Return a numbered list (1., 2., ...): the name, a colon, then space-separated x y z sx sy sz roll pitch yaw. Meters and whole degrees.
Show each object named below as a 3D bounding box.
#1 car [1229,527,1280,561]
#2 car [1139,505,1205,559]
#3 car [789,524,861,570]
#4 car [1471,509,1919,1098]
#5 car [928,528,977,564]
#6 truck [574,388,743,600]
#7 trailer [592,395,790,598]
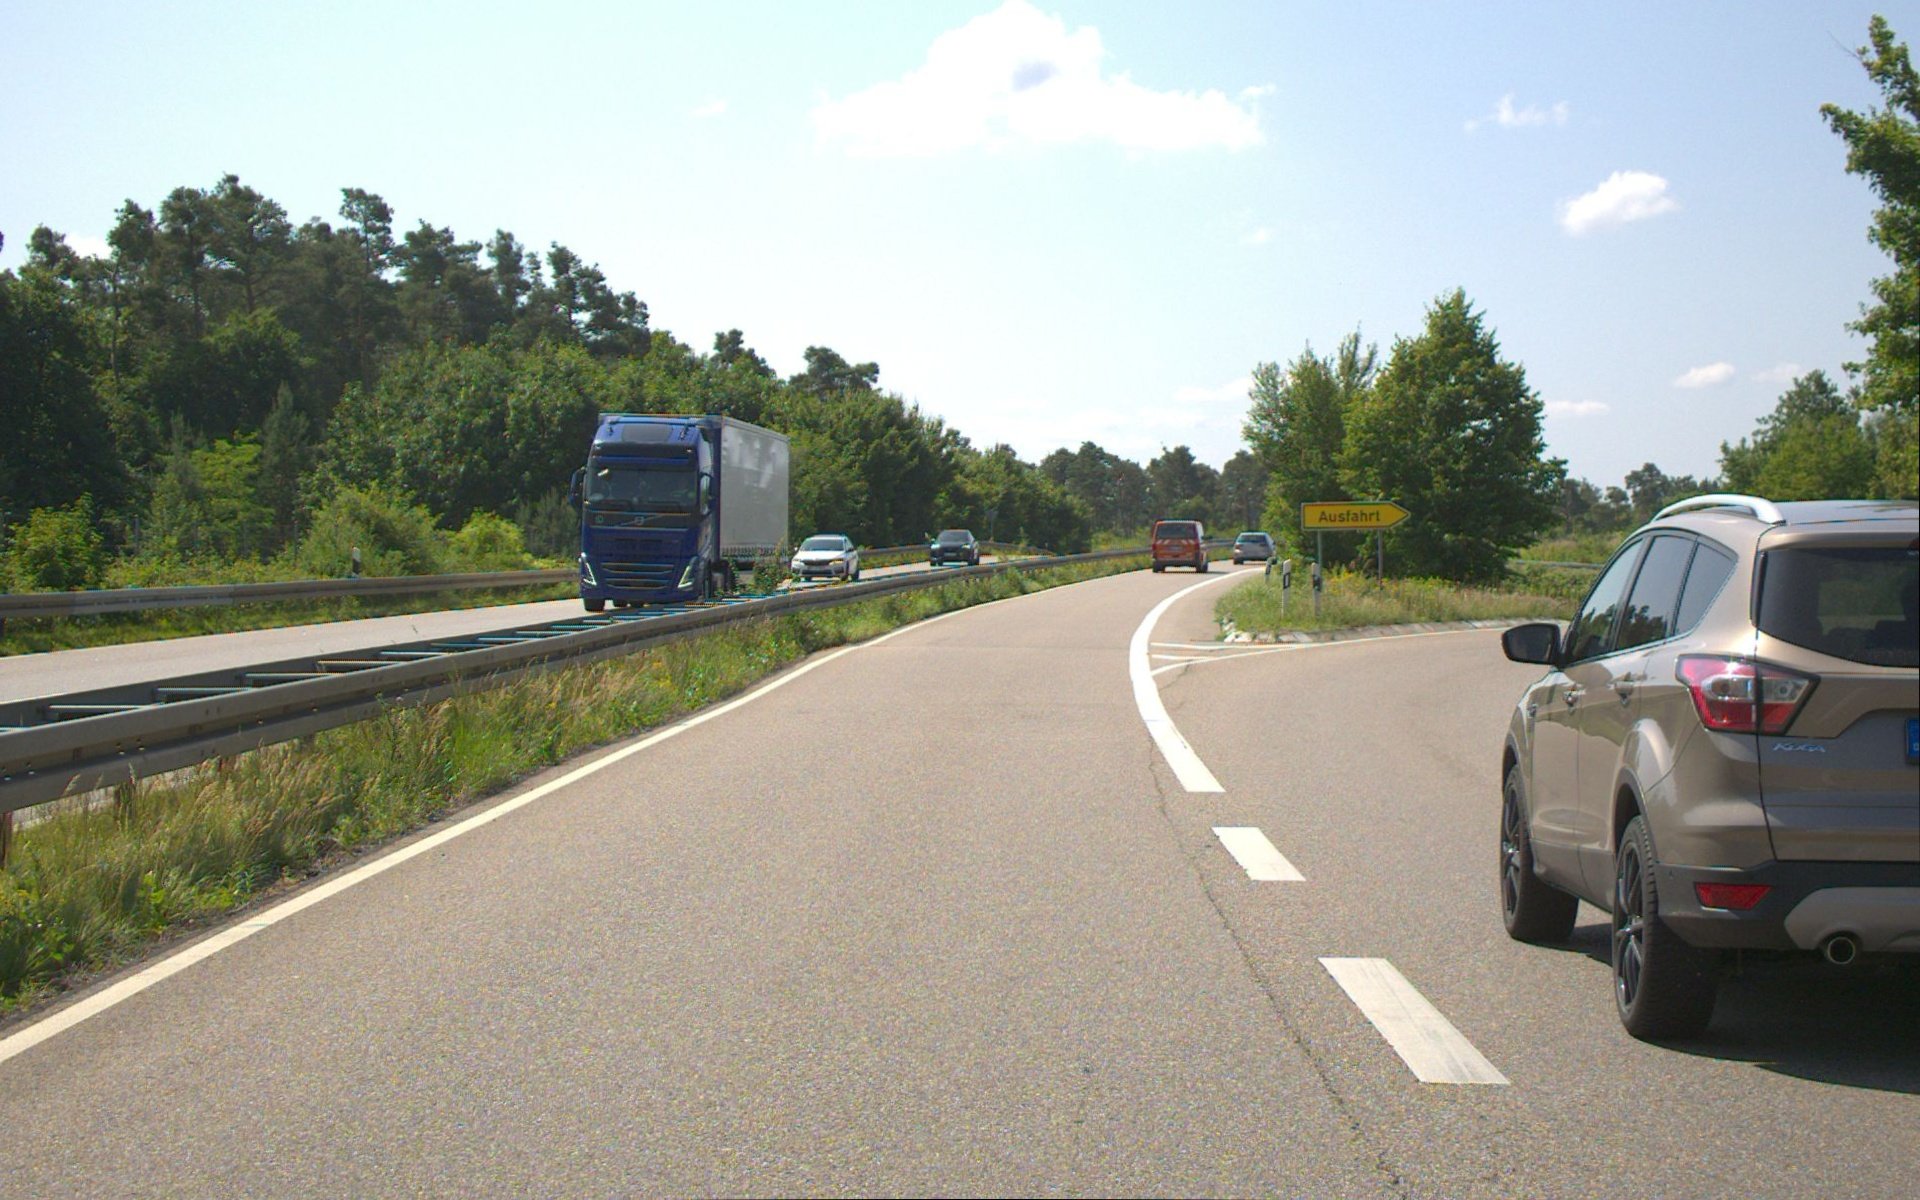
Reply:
1. car: 13.387 -2.549 156.130 2.008 1.488 4.237 1 1 9
2. car: 8.037 -2.555 129.994 2.078 1.986 5.110 1 1 8
3. car: -4.323 -1.723 110.844 1.794 1.439 4.606 0 1 4
4. car: 3.031 0.521 12.018 1.894 1.660 4.666 0 1 1
5. car: -0.303 -2.296 146.094 1.756 1.495 4.573 1 1 4
6. truck: -6.165 -2.156 71.093 2.767 4.173 5.598 1 1 2
7. trailer: -5.890 -2.254 77.969 2.746 4.158 14.582 1 1 2
